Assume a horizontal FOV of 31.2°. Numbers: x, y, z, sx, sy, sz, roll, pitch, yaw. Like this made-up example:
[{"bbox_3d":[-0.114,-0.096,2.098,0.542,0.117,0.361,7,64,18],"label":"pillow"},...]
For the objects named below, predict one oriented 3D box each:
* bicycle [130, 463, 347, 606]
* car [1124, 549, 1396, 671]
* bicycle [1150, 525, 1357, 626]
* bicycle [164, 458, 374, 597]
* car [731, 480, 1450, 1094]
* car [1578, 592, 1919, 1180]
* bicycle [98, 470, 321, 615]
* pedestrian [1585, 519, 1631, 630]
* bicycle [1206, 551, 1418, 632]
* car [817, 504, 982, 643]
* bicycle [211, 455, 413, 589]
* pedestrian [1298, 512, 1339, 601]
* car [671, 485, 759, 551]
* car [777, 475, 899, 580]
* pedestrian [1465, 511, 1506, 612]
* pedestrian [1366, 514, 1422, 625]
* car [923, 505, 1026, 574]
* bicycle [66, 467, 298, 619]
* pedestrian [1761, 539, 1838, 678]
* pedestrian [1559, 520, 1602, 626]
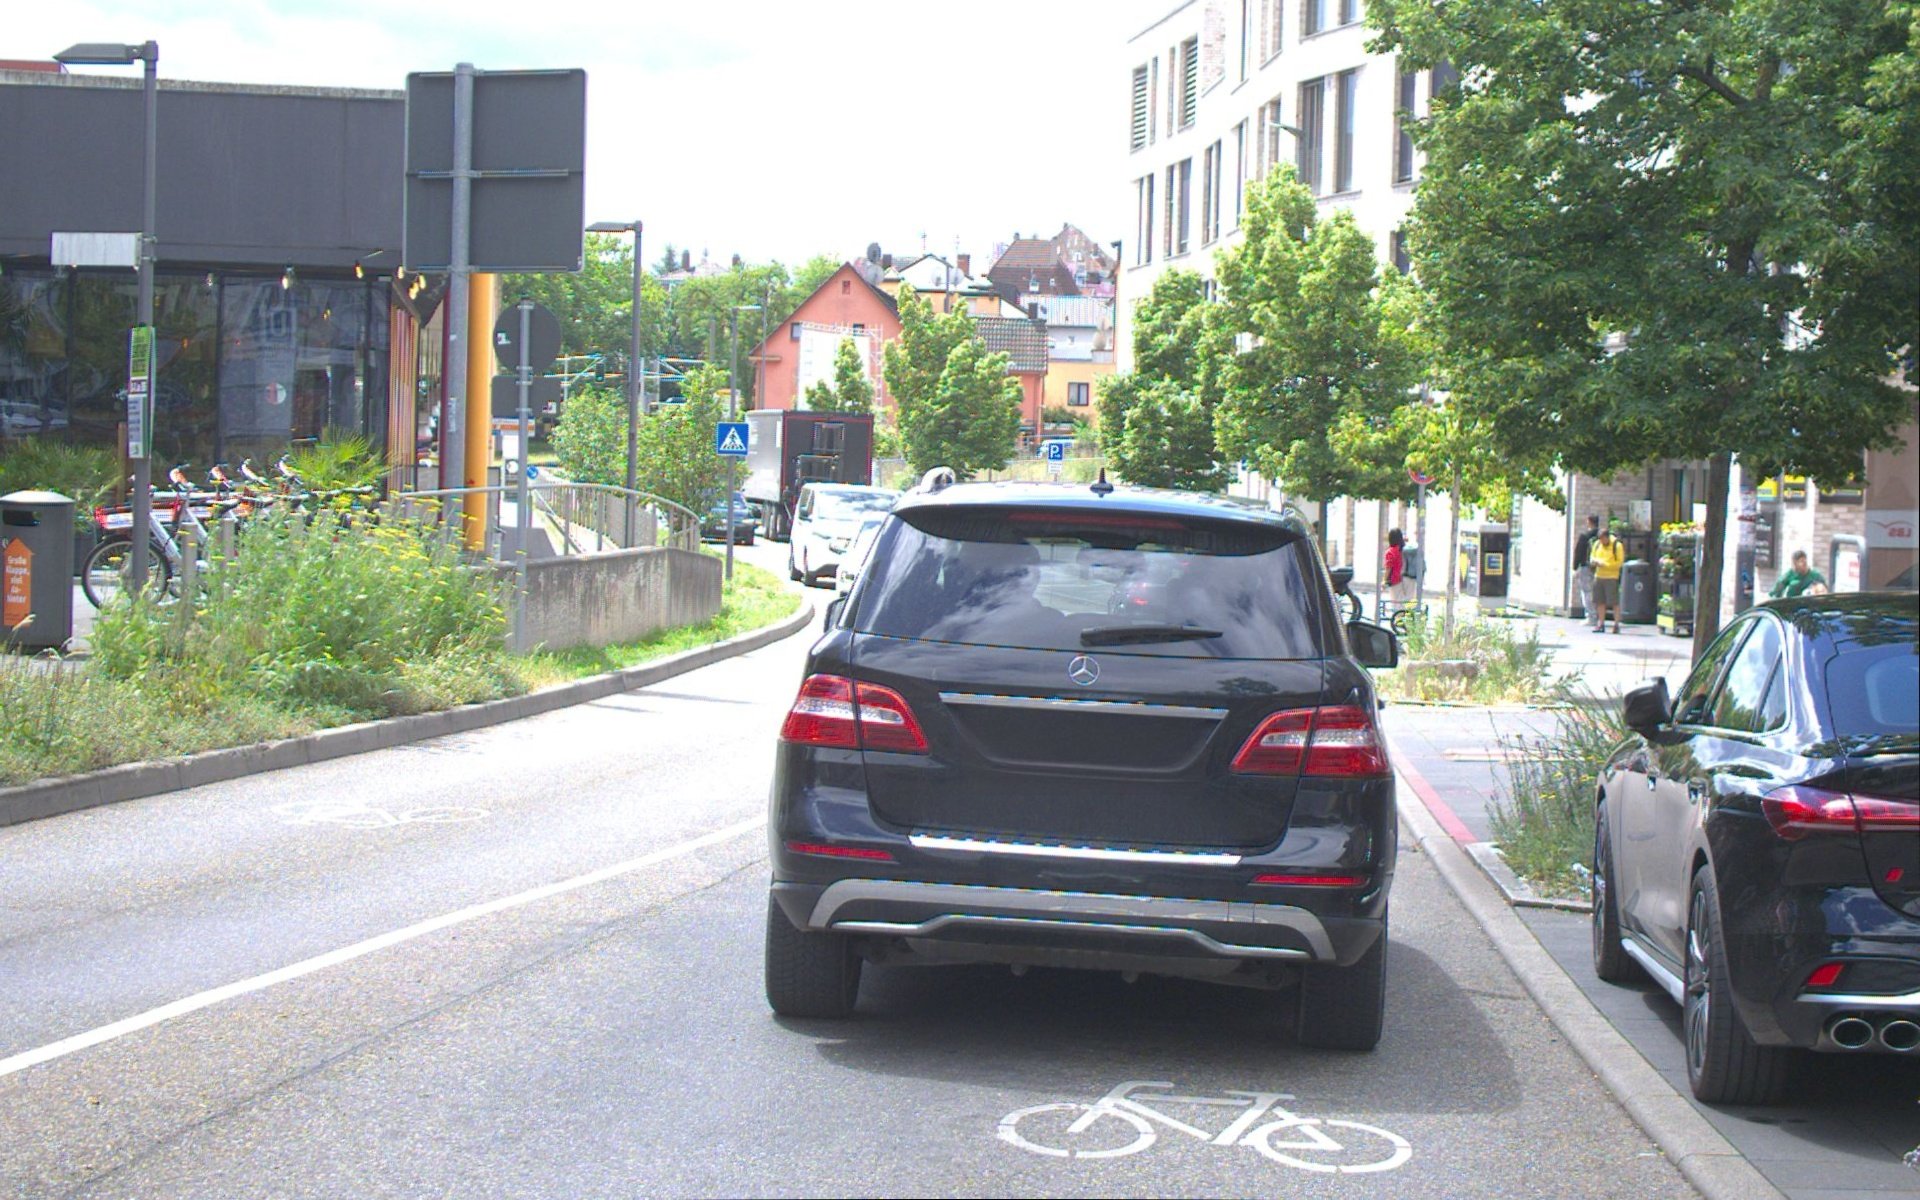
[{"bbox_3d":[-5.719,-0.523,27.295,1.568,1.087,0.578,1,1,5],"label":"bicycle"},{"bbox_3d":[3.716,0.085,42.128,1.612,1.378,3.829,2,2,35],"label":"car"},{"bbox_3d":[4.465,-0.377,52.455,3.059,1.481,0.710,1,1,0],"label":"bicycle"},{"bbox_3d":[-5.658,-0.595,28.176,1.568,1.087,0.578,1,1,5],"label":"bicycle"},{"bbox_3d":[0.509,0.488,11.971,2.027,1.721,4.433,0,1,4],"label":"car"},{"bbox_3d":[3.069,0.716,10.727,1.857,1.401,4.374,0,1,5],"label":"car"},{"bbox_3d":[-5.768,-0.443,26.446,1.568,1.065,0.539,1,1,5],"label":"bicycle"},{"bbox_3d":[9.917,-0.394,52.618,0.559,1.685,0.639,1,1,1],"label":"pedestrian"},{"bbox_3d":[5.214,-0.133,51.059,3.059,1.142,0.710,1,1,0],"label":"bicycle"},{"bbox_3d":[-0.735,-0.378,44.436,1.840,1.602,4.000,4,2,2],"label":"car"},{"bbox_3d":[-5.477,-0.662,29.095,1.568,1.087,0.578,1,1,5],"label":"bicycle"},{"bbox_3d":[6.814,-0.826,65.333,0.558,1.677,0.568,1,1,-18],"label":"pedestrian"},{"bbox_3d":[-6.581,-2.216,92.165,1.840,1.602,4.002,4,2,-10],"label":"car"},{"bbox_3d":[-2.402,-1.429,66.655,1.840,1.852,4.499,4,2,-8],"label":"car"},{"bbox_3d":[8.846,-0.653,57.892,0.559,1.677,0.568,1,1,1],"label":"pedestrian"},{"bbox_3d":[6.694,-0.473,53.045,0.662,1.677,0.568,1,1,-14],"label":"pedestrian"},{"bbox_3d":[0.276,-1.279,71.685,1.608,1.378,3.837,1,2,-7],"label":"car"},{"bbox_3d":[-5.802,-0.427,25.677,1.568,1.087,0.578,1,1,5],"label":"bicycle"},{"bbox_3d":[9.609,0.096,39.375,0.711,1.558,0.568,1,1,1],"label":"pedestrian"},{"bbox_3d":[9.952,-0.442,55.154,0.559,1.677,0.568,1,1,1],"label":"pedestrian"}]
